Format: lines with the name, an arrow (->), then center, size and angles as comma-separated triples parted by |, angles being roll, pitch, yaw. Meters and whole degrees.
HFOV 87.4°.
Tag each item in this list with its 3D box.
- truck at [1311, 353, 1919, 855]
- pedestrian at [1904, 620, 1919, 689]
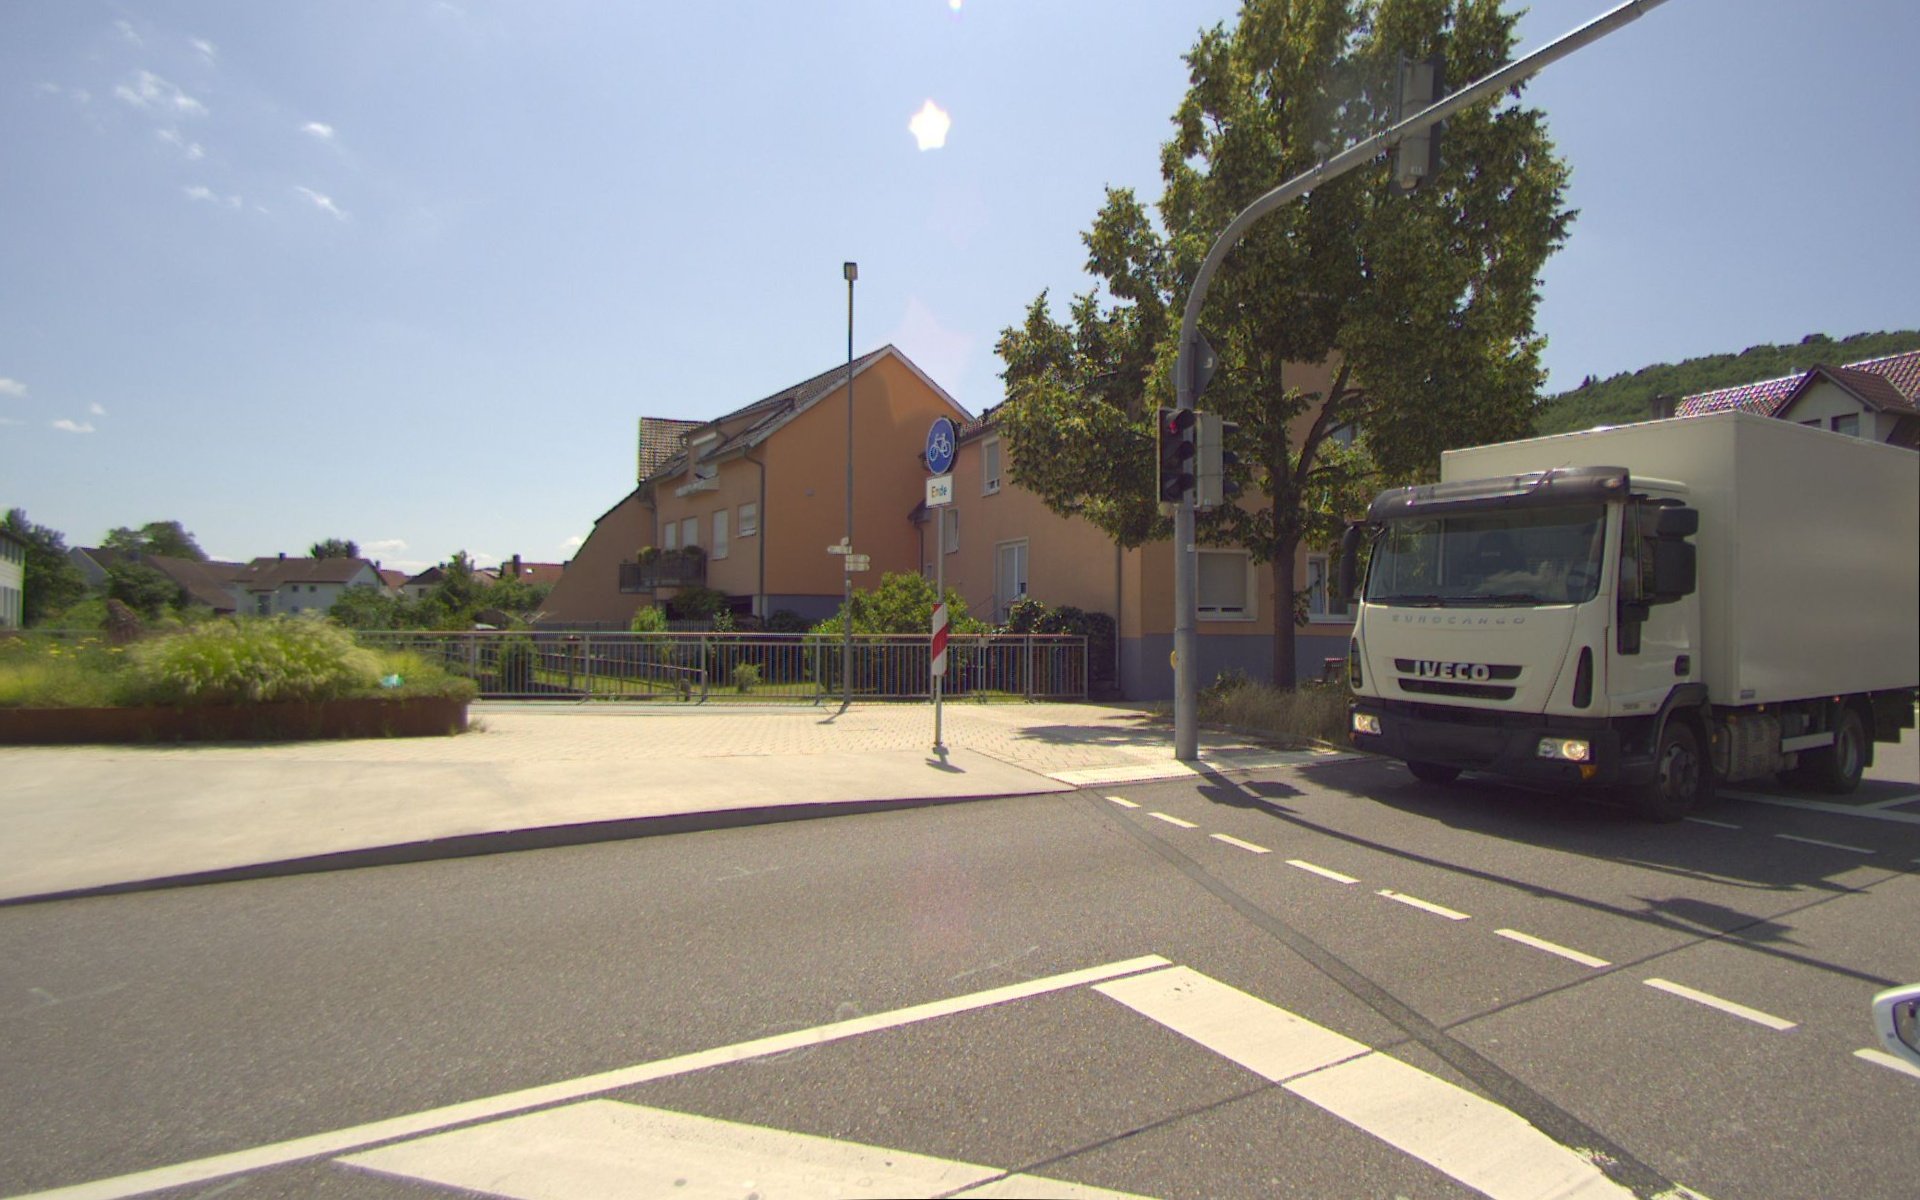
truck -> 6.252, 0.062, 9.177 | 5.970, 3.278, 2.489 | 1, 0, -31
pedestrian -> 25.089, 1.413, 26.181 | 0.547, 1.788, 0.434 | 0, -1, -9
